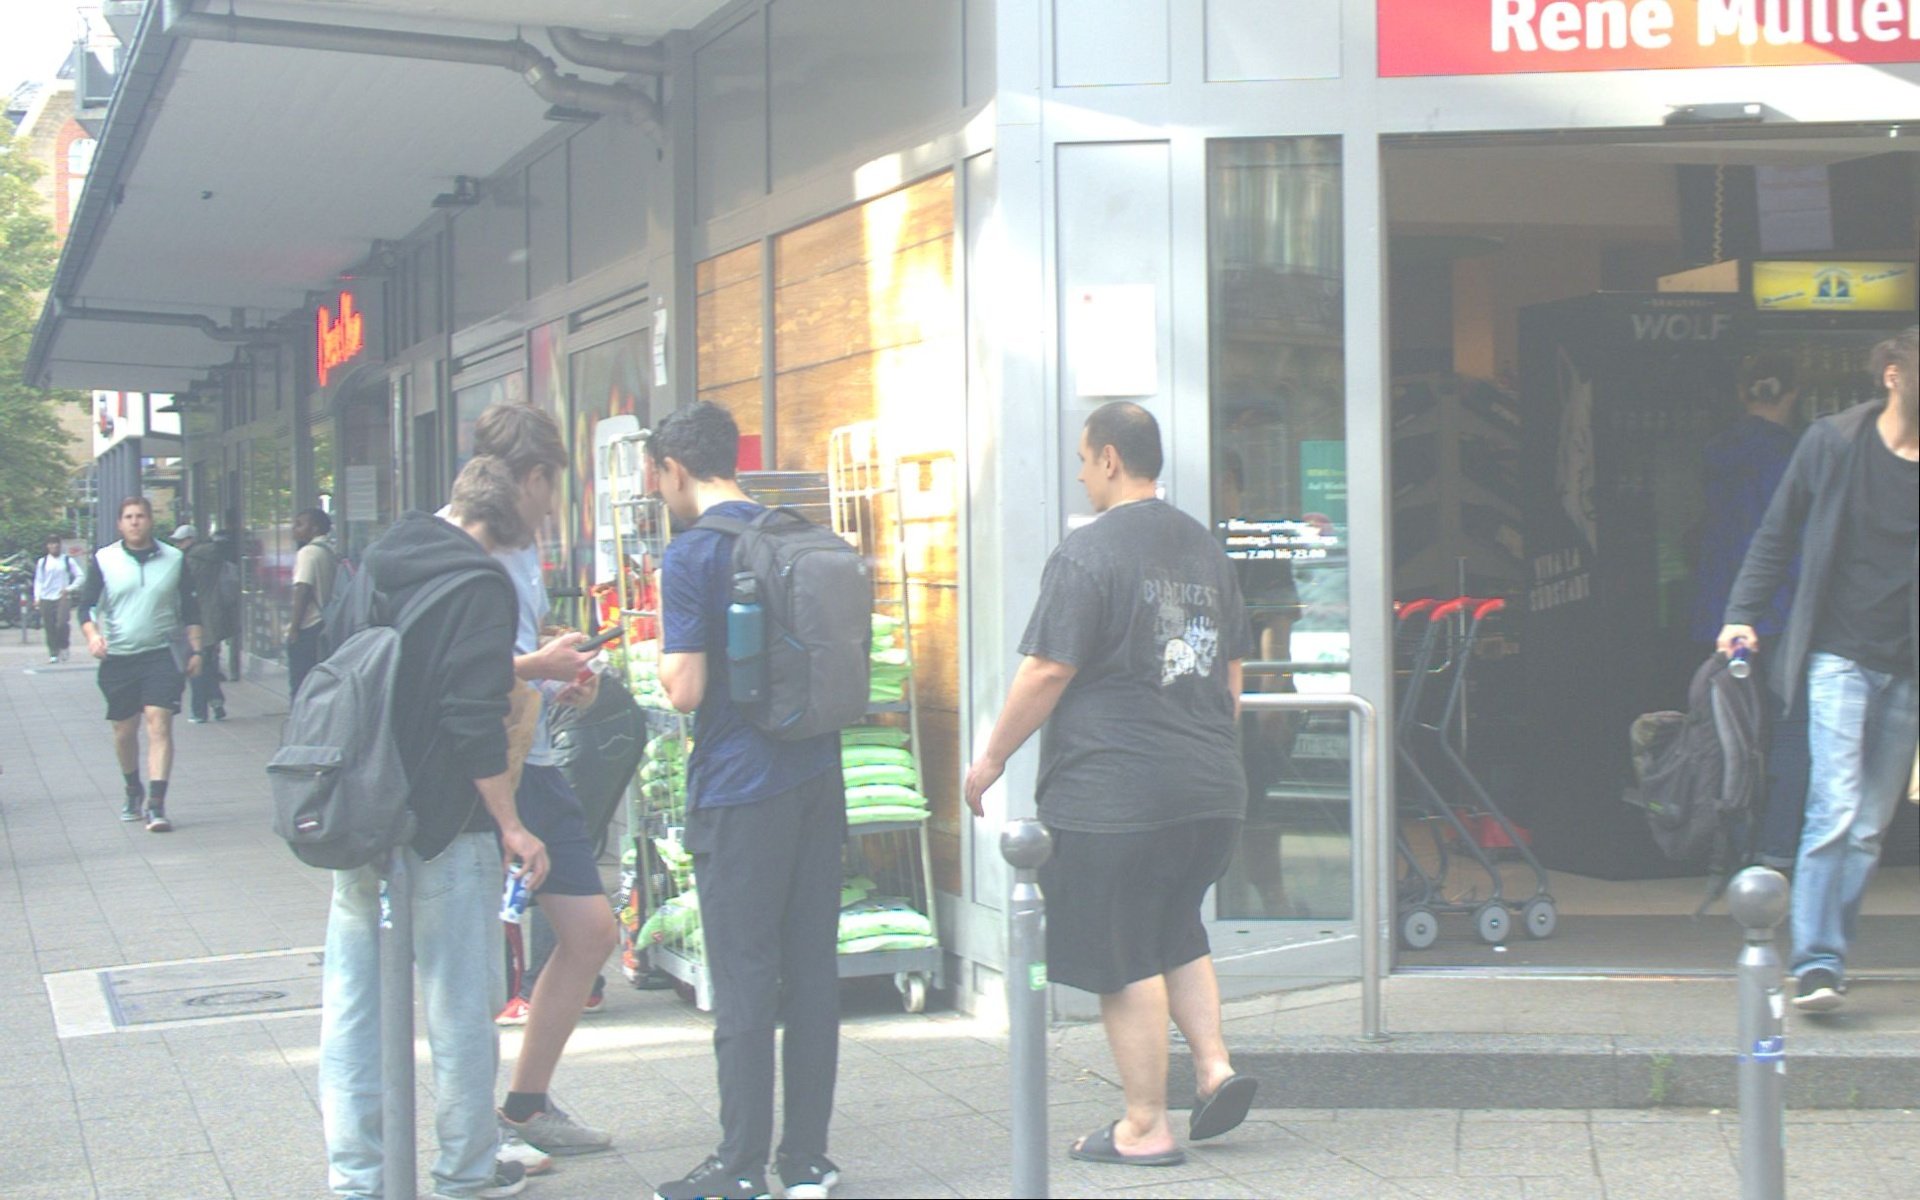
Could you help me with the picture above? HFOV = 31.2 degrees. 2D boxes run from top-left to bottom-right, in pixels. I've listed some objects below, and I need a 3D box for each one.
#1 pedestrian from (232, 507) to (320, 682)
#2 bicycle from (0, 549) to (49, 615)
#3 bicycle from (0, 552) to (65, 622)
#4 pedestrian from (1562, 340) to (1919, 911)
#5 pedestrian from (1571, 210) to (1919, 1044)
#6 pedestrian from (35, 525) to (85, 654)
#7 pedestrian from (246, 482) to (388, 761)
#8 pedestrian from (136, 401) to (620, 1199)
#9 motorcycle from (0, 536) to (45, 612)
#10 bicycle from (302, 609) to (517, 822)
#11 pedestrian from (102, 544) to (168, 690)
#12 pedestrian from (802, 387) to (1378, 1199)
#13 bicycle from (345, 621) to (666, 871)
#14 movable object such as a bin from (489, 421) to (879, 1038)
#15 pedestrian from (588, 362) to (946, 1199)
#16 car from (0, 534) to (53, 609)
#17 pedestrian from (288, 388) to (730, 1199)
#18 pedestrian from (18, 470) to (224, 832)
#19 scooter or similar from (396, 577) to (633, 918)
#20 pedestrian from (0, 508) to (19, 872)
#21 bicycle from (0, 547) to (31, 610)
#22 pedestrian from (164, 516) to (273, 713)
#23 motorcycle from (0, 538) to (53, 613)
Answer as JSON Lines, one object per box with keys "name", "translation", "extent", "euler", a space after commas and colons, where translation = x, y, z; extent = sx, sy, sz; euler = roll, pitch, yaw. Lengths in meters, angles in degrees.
{"name": "pedestrian", "translation": [-7.313, -0.064, 36.783], "extent": [0.708, 1.854, 0.644], "euler": [0, 1, 13]}
{"name": "bicycle", "translation": [-17.146, -0.314, 61.663], "extent": [1.495, 1.142, 0.411], "euler": [-3, 2, -16]}
{"name": "bicycle", "translation": [-16.545, -0.215, 59.932], "extent": [1.765, 1.158, 0.650], "euler": [-3, 2, -14]}
{"name": "pedestrian", "translation": [2.528, 0.063, 11.009], "extent": [0.927, 1.747, 0.766], "euler": [-1, 1, -17]}
{"name": "pedestrian", "translation": [2.140, 0.050, 8.754], "extent": [1.032, 2.006, 0.863], "euler": [-1, 3, 16]}
{"name": "pedestrian", "translation": [-12.260, -0.152, 46.796], "extent": [0.611, 1.720, 1.127], "euler": [-1, 2, -15]}
{"name": "pedestrian", "translation": [-4.177, 0.124, 22.297], "extent": [0.713, 1.740, 0.817], "euler": [-3, 2, -18]}
{"name": "pedestrian", "translation": [-1.239, 0.489, 7.421], "extent": [0.631, 1.791, 0.714], "euler": [-2, 3, 25]}
{"name": "motorcycle", "translation": [-20.246, -0.520, 71.692], "extent": [2.150, 1.525, 0.686], "euler": [-3, 2, -11]}
{"name": "bicycle", "translation": [-2.973, 0.588, 18.428], "extent": [0.741, 1.011, 1.783], "euler": [-3, 2, -21]}
{"name": "pedestrian", "translation": [-9.237, 0.180, 38.492], "extent": [0.643, 1.583, 0.781], "euler": [-3, 2, -14]}
{"name": "pedestrian", "translation": [0.278, 0.415, 7.906], "extent": [0.849, 1.740, 1.049], "euler": [-4, 2, -26]}
{"name": "bicycle", "translation": [-2.071, 0.627, 15.485], "extent": [0.676, 1.039, 1.734], "euler": [-2, 1, -36]}
{"name": "movable object such as a bin", "translation": [-0.940, 0.340, 10.960], "extent": [0.779, 1.738, 2.424], "euler": [-1, 1, -15]}
{"name": "pedestrian", "translation": [-0.422, 0.396, 7.569], "extent": [0.653, 1.791, 0.659], "euler": [-3, 3, -3]}
{"name": "car", "translation": [-21.508, -0.536, 73.500], "extent": [3.760, 1.541, 1.731], "euler": [-3, 1, -26]}
{"name": "pedestrian", "translation": [-1.029, 0.427, 7.964], "extent": [0.713, 1.791, 0.632], "euler": [-2, 3, 17]}
{"name": "pedestrian", "translation": [-4.450, 0.249, 18.307], "extent": [0.884, 1.828, 1.047], "euler": [-3, 2, -8]}
{"name": "scooter or similar", "translation": [-1.749, 0.542, 13.374], "extent": [0.632, 1.208, 1.256], "euler": [-3, 2, -19]}
{"name": "pedestrian", "translation": [-4.868, 0.421, 16.123], "extent": [0.801, 1.665, 1.023], "euler": [-1, 0, -18]}
{"name": "bicycle", "translation": [-18.796, -0.388, 65.933], "extent": [1.795, 1.155, 0.500], "euler": [-2, 2, 10]}
{"name": "pedestrian", "translation": [-6.120, 0.109, 28.356], "extent": [0.823, 1.583, 0.781], "euler": [-1, 1, -14]}
{"name": "motorcycle", "translation": [-19.313, -0.463, 68.789], "extent": [2.150, 1.430, 0.765], "euler": [-3, 2, -11]}
